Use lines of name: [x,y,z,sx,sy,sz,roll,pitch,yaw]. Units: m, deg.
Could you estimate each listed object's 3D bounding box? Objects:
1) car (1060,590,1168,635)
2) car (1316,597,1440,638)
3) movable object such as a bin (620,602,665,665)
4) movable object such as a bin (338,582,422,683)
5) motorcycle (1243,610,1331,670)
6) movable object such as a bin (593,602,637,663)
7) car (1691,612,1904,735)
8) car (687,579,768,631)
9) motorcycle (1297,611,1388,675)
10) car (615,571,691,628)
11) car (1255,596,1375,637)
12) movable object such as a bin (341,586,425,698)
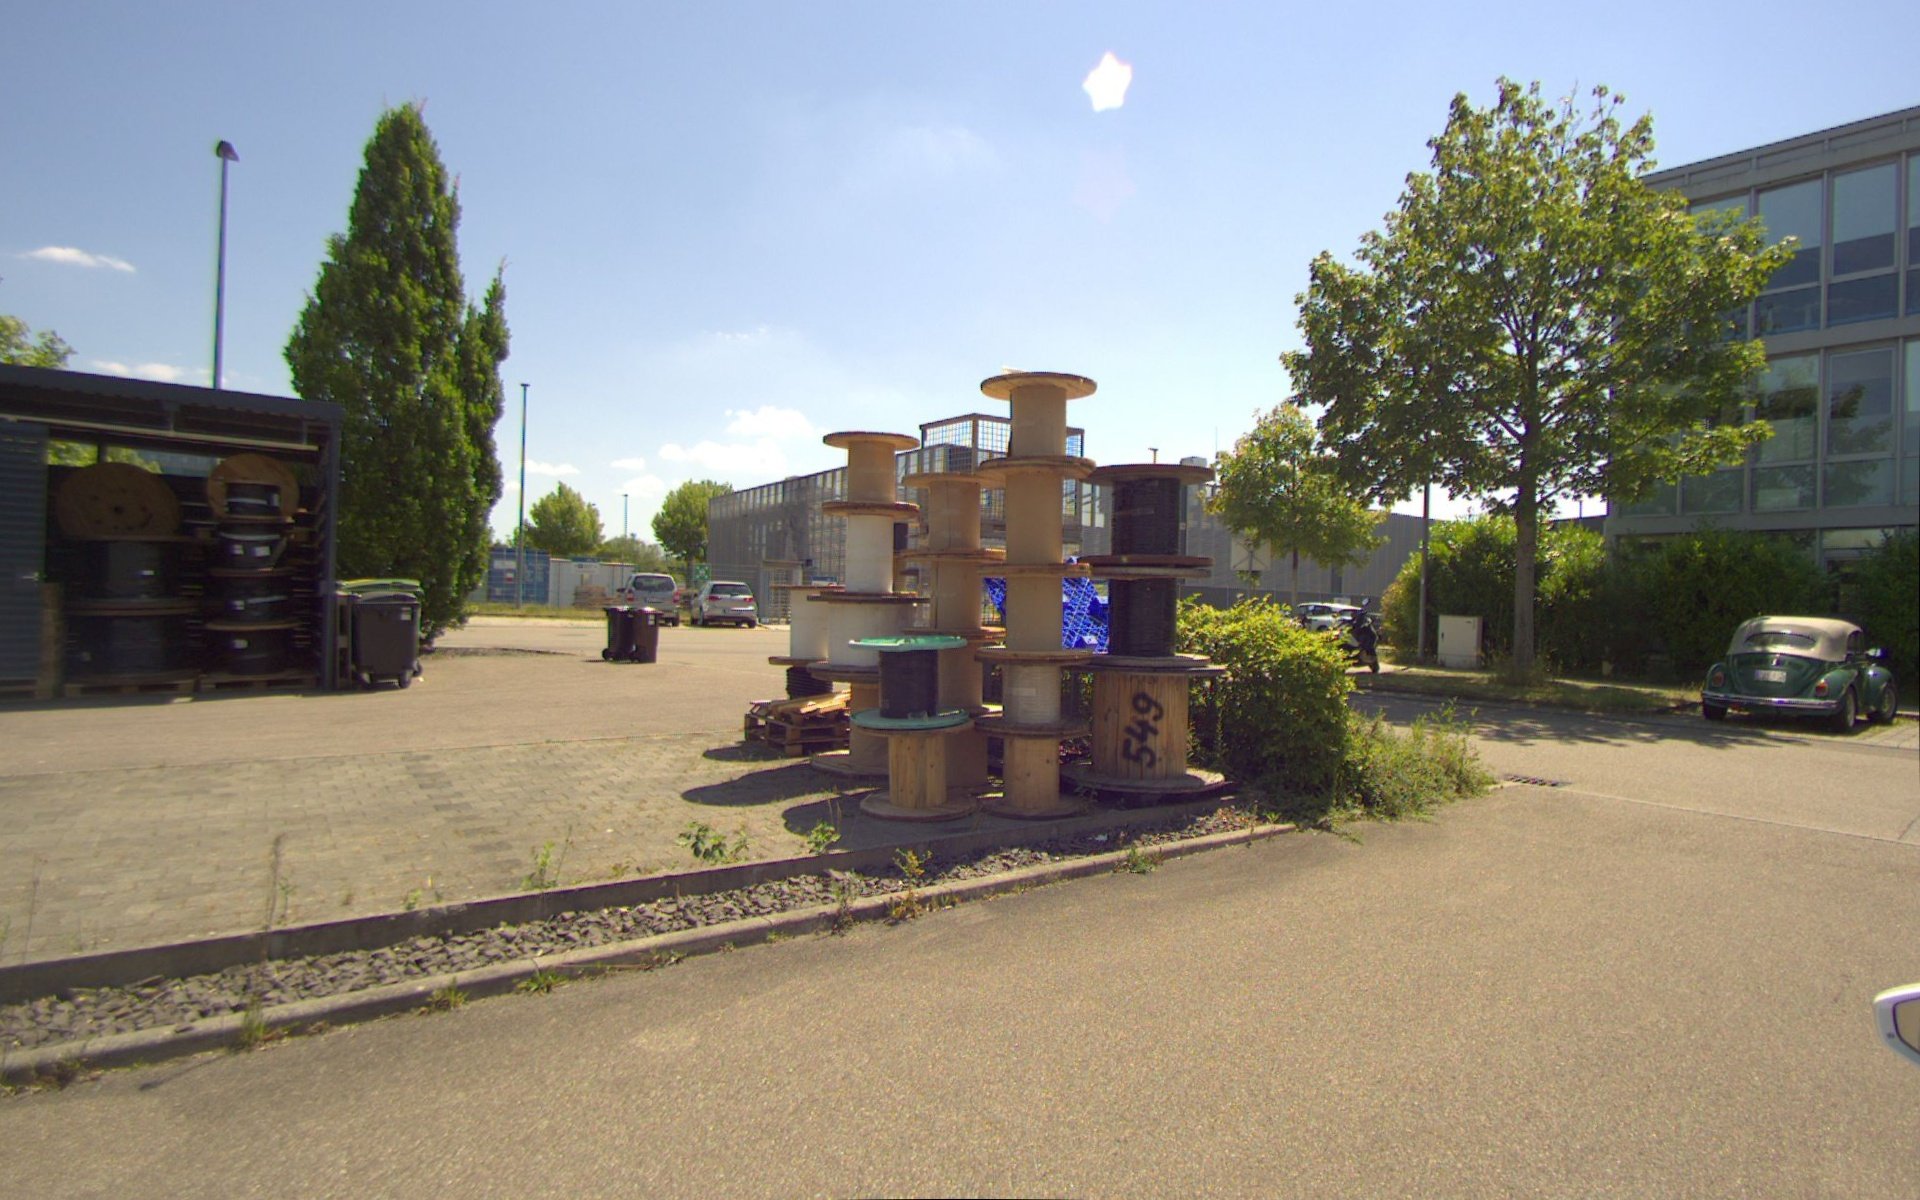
car: [5.643,0.420,37.370,1.971,1.511,4.491,1,1,-21]
car: [17.404,0.686,42.085,1.970,1.511,4.830,1,1,-21]
movable object such as a bin: [-5.452,0.569,17.245,0.567,1.050,0.425,1,0,21]
movable object such as a bin: [-8.017,0.443,13.906,0.962,1.347,0.704,1,0,-30]
motorcycle: [6.648,0.783,20.385,1.939,1.153,0.708,1,0,-37]
movable object such as a bin: [-5.994,0.556,17.466,0.570,1.041,0.425,1,0,21]
car: [11.822,0.934,14.117,3.621,1.468,1.530,1,1,-38]
car: [-7.680,0.114,32.874,1.971,1.511,3.979,3,0,-21]
motorcycle: [7.375,0.801,19.350,1.939,1.153,0.708,1,0,-37]
car: [-9.895,-0.045,32.211,1.971,1.611,3.979,3,0,-21]
car: [14.476,0.621,41.306,1.970,1.511,4.830,1,1,-21]
movable object such as a bin: [-7.293,0.516,12.722,0.874,1.362,0.807,1,0,-30]
